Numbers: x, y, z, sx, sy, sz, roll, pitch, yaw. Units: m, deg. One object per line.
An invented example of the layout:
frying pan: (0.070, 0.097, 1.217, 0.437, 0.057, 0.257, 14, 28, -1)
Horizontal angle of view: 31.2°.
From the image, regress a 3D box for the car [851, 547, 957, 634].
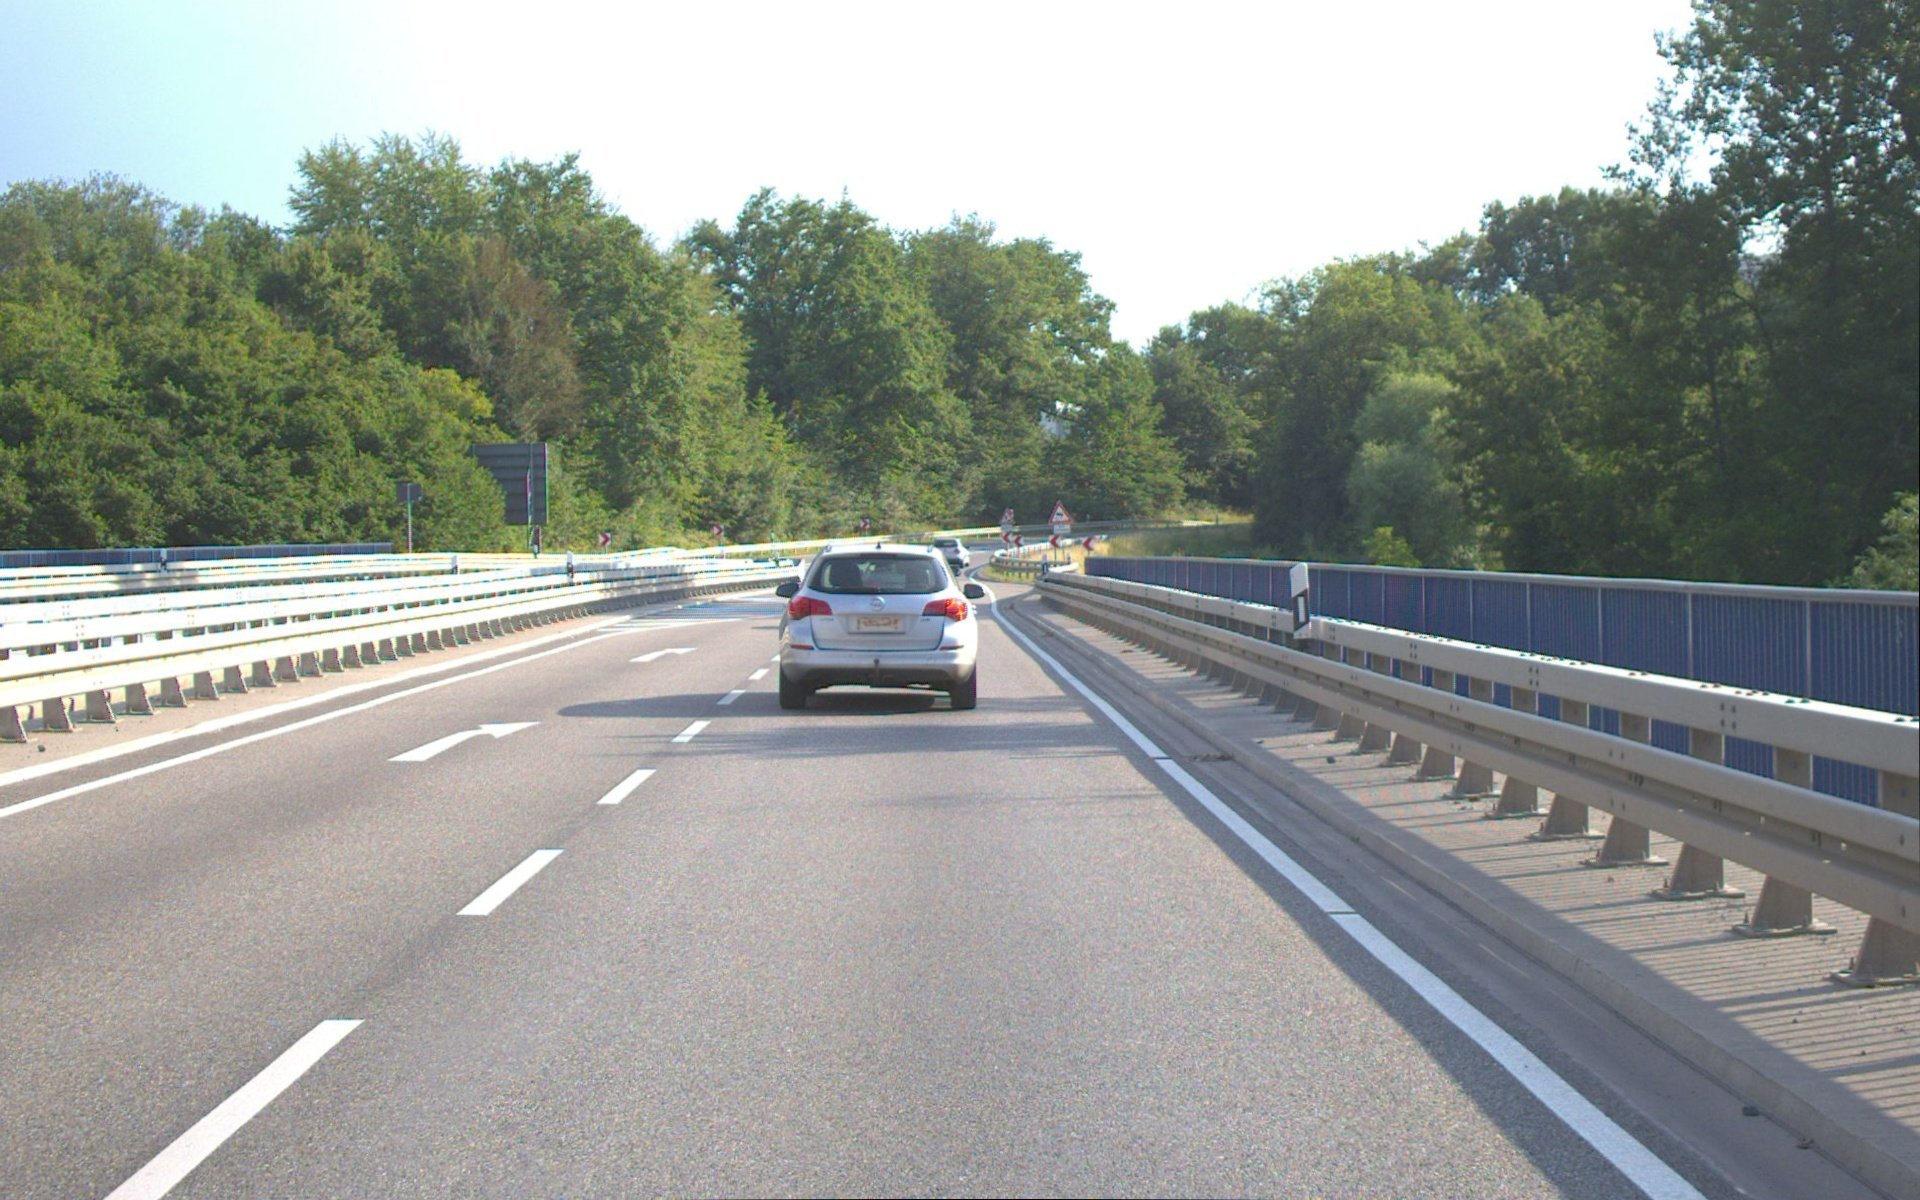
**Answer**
car: (-1.021, -0.179, 61.780, 1.809, 1.481, 4.000, 1, 0, -1)

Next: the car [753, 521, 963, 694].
car: (-0.934, 0.050, 31.958, 1.809, 1.481, 4.000, 1, 0, -1)

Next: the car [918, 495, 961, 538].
car: (-1.022, -4.093, 169.611, 1.993, 2.007, 4.000, 1, 0, -2)
